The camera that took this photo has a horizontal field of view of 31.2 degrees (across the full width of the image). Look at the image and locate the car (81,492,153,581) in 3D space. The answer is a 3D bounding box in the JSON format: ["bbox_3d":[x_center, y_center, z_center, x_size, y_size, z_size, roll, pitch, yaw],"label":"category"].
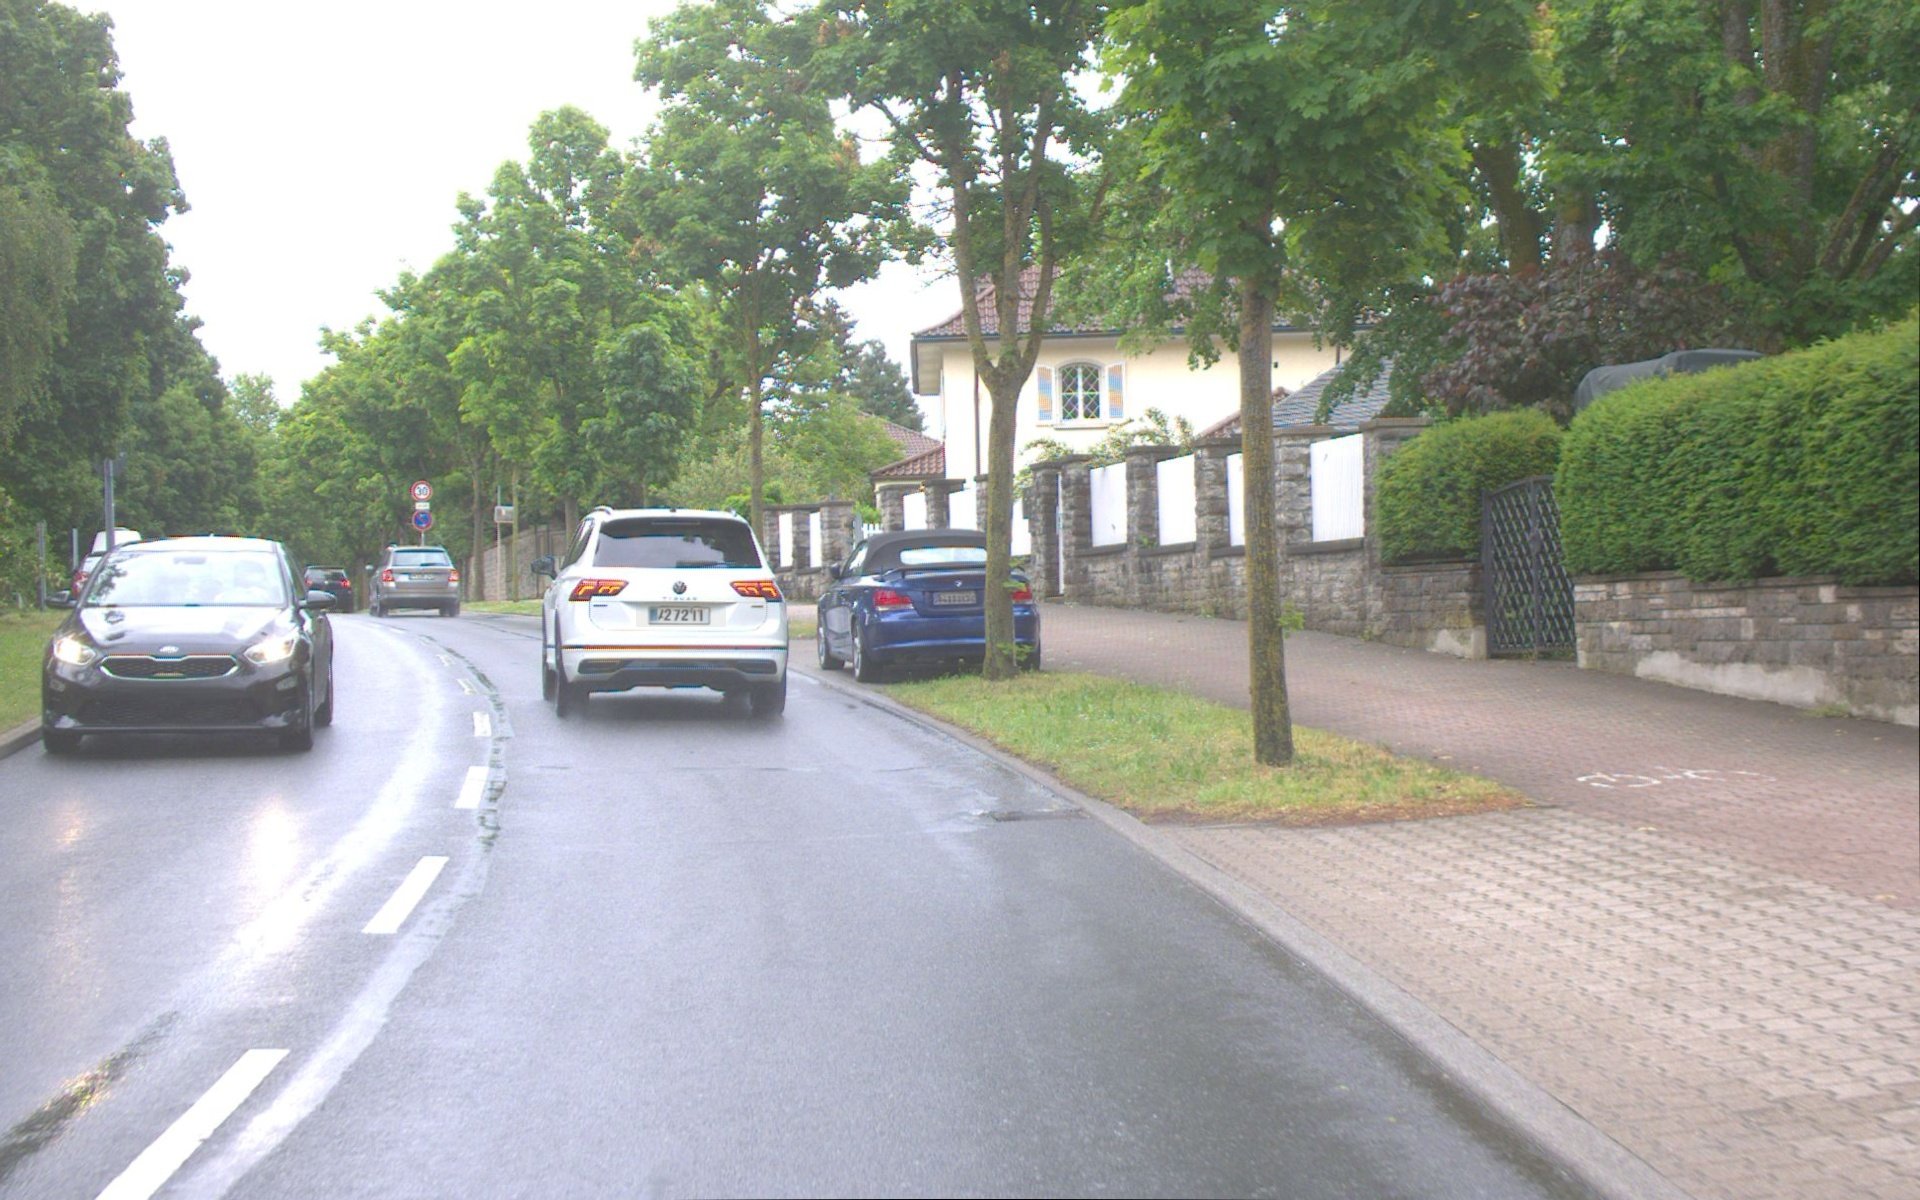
[{"bbox_3d":[-25.441,-1.888,103.750,1.993,2.552,5.234,-1,0,-14],"label":"car"}]

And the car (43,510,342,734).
[{"bbox_3d":[-5.388,0.097,24.549,1.754,1.436,4.158,0,2,-8],"label":"car"}]

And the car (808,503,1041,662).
[{"bbox_3d":[-0.403,-0.202,33.327,1.641,1.373,3.830,-3,2,-9],"label":"car"}]

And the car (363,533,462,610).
[{"bbox_3d":[-11.337,-0.614,71.001,1.840,1.482,4.001,0,2,-12],"label":"car"}]

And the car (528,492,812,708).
[{"bbox_3d":[-2.462,-0.065,28.350,1.996,1.626,4.001,0,2,-10],"label":"car"}]

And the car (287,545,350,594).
[{"bbox_3d":[-19.933,-0.953,106.760,1.851,1.413,4.227,0,2,-12],"label":"car"}]

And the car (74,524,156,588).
[{"bbox_3d":[-20.096,-1.043,81.746,1.842,1.461,4.251,-1,1,-14],"label":"car"}]
